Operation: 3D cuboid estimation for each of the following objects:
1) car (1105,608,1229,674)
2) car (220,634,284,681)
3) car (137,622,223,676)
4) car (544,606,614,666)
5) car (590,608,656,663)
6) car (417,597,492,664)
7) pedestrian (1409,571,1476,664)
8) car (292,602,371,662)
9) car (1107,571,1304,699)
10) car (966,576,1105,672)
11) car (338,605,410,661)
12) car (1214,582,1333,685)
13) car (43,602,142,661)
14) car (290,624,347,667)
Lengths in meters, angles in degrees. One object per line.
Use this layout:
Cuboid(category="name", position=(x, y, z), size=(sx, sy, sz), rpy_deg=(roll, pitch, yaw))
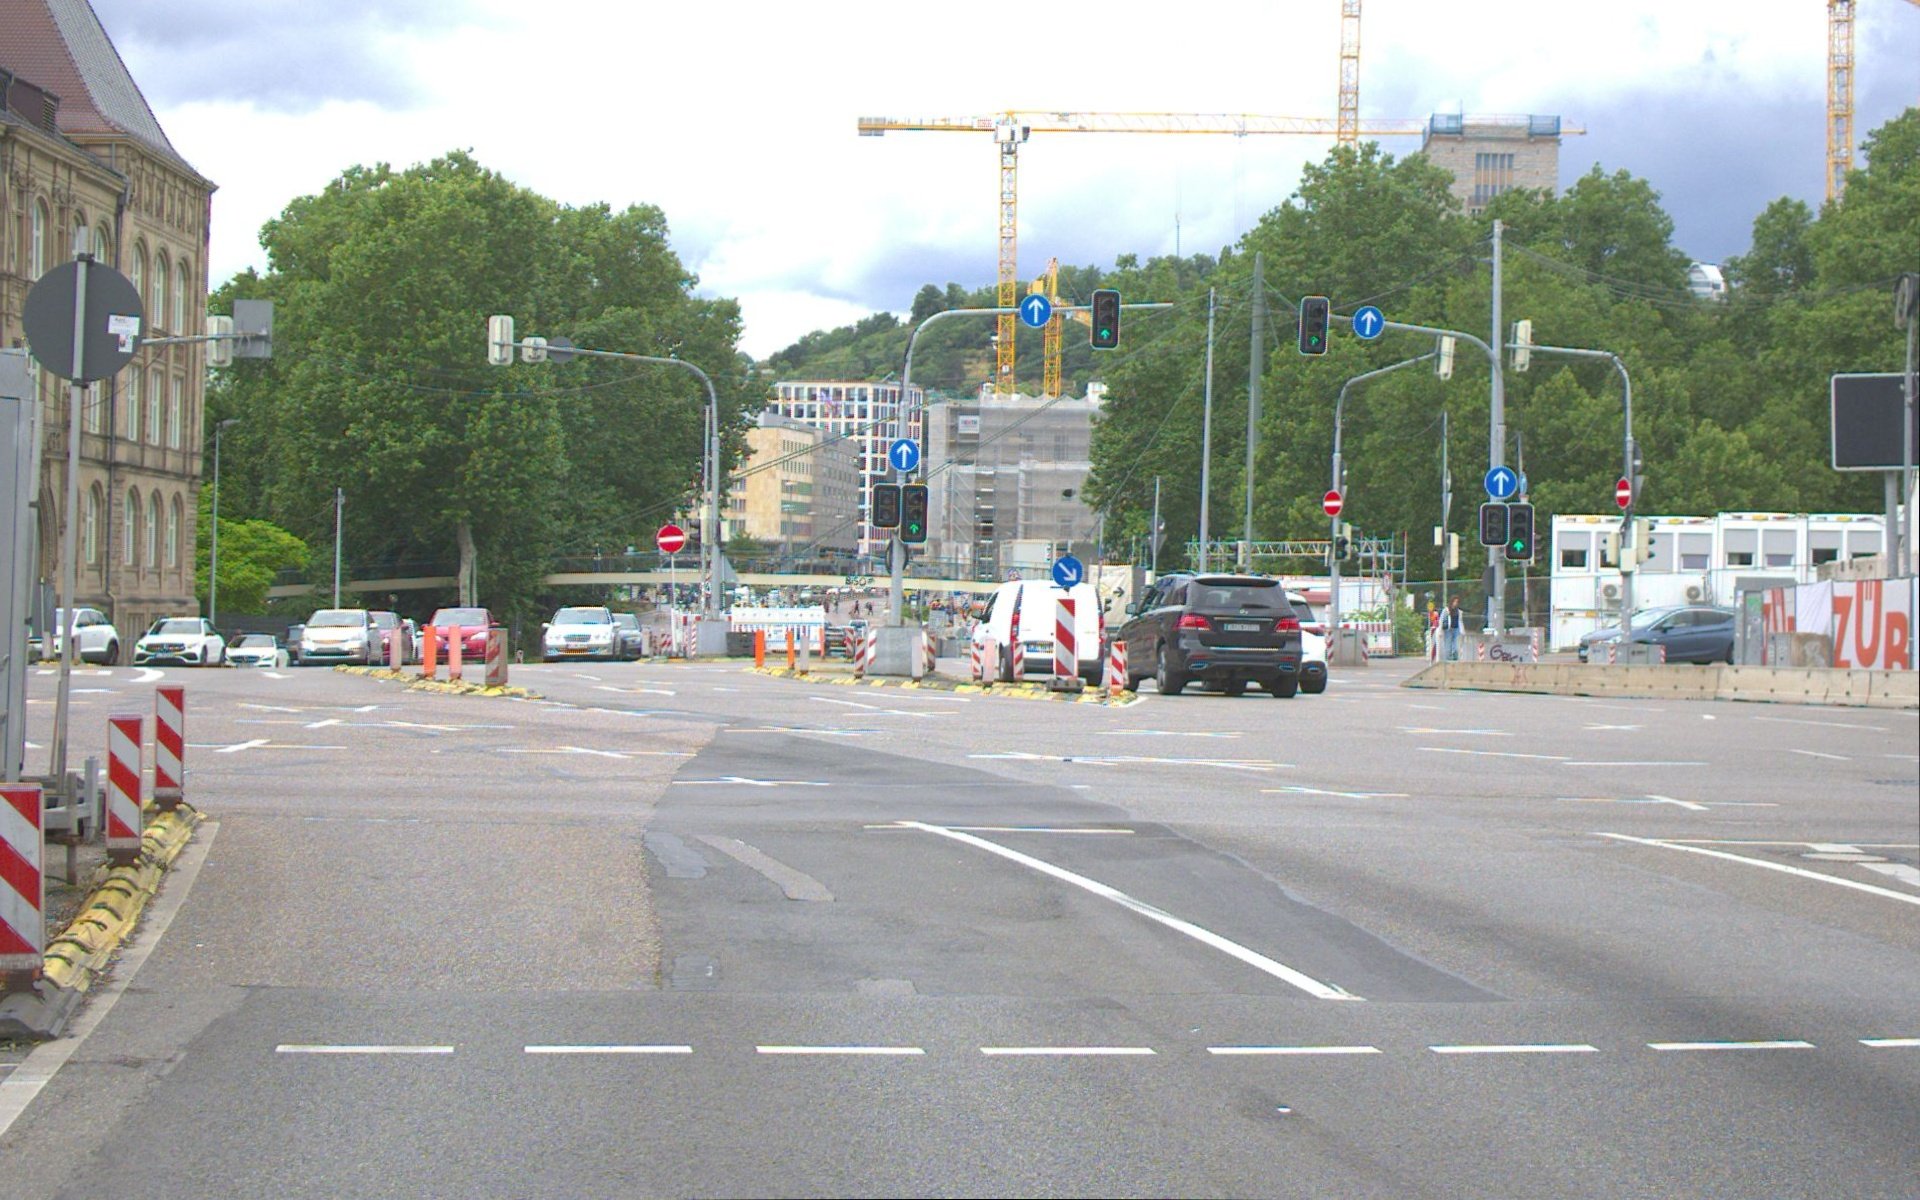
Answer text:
Cuboid(category="car", position=(4.545, 0.897, 75.901), size=(1.675, 1.393, 3.087), rpy_deg=(1, 0, -19))
Cuboid(category="car", position=(-22.567, 1.825, 109.652), size=(1.675, 1.393, 3.684), rpy_deg=(1, 0, -7))
Cuboid(category="car", position=(-21.665, 1.342, 95.624), size=(1.676, 1.393, 3.683), rpy_deg=(2, 0, -3))
Cuboid(category="car", position=(-9.420, 0.872, 84.921), size=(1.675, 1.393, 3.684), rpy_deg=(1, 0, -7))
Cuboid(category="car", position=(-9.023, 0.923, 91.910), size=(1.675, 1.393, 3.684), rpy_deg=(1, 0, -7))
Cuboid(category="car", position=(-12.427, 0.740, 84.632), size=(1.675, 1.575, 3.684), rpy_deg=(1, 0, -7))
Cuboid(category="pedestrian", position=(10.595, 0.377, 75.563), size=(1.094, 2.007, 1.185), rpy_deg=(1, 0, -12))
Cuboid(category="car", position=(-15.621, 0.782, 85.543), size=(1.675, 1.393, 3.684), rpy_deg=(1, 0, -7))
Cuboid(category="car", position=(3.478, 0.467, 49.455), size=(1.831, 1.740, 4.256), rpy_deg=(1, 0, -10))
Cuboid(category="car", position=(1.288, 0.399, 60.339), size=(1.816, 1.619, 4.001), rpy_deg=(1, 0, -8))
Cuboid(category="car", position=(-15.520, 0.862, 91.226), size=(1.675, 1.393, 3.684), rpy_deg=(1, 0, -7))
Cuboid(category="car", position=(5.354, 0.548, 59.052), size=(1.676, 1.696, 3.374), rpy_deg=(1, 0, -1))
Cuboid(category="car", position=(-21.601, 0.780, 85.705), size=(1.676, 1.393, 3.683), rpy_deg=(1, 0, -2))
Cuboid(category="car", position=(-22.547, 1.589, 120.910), size=(1.675, 1.393, 3.684), rpy_deg=(1, 0, -7))
